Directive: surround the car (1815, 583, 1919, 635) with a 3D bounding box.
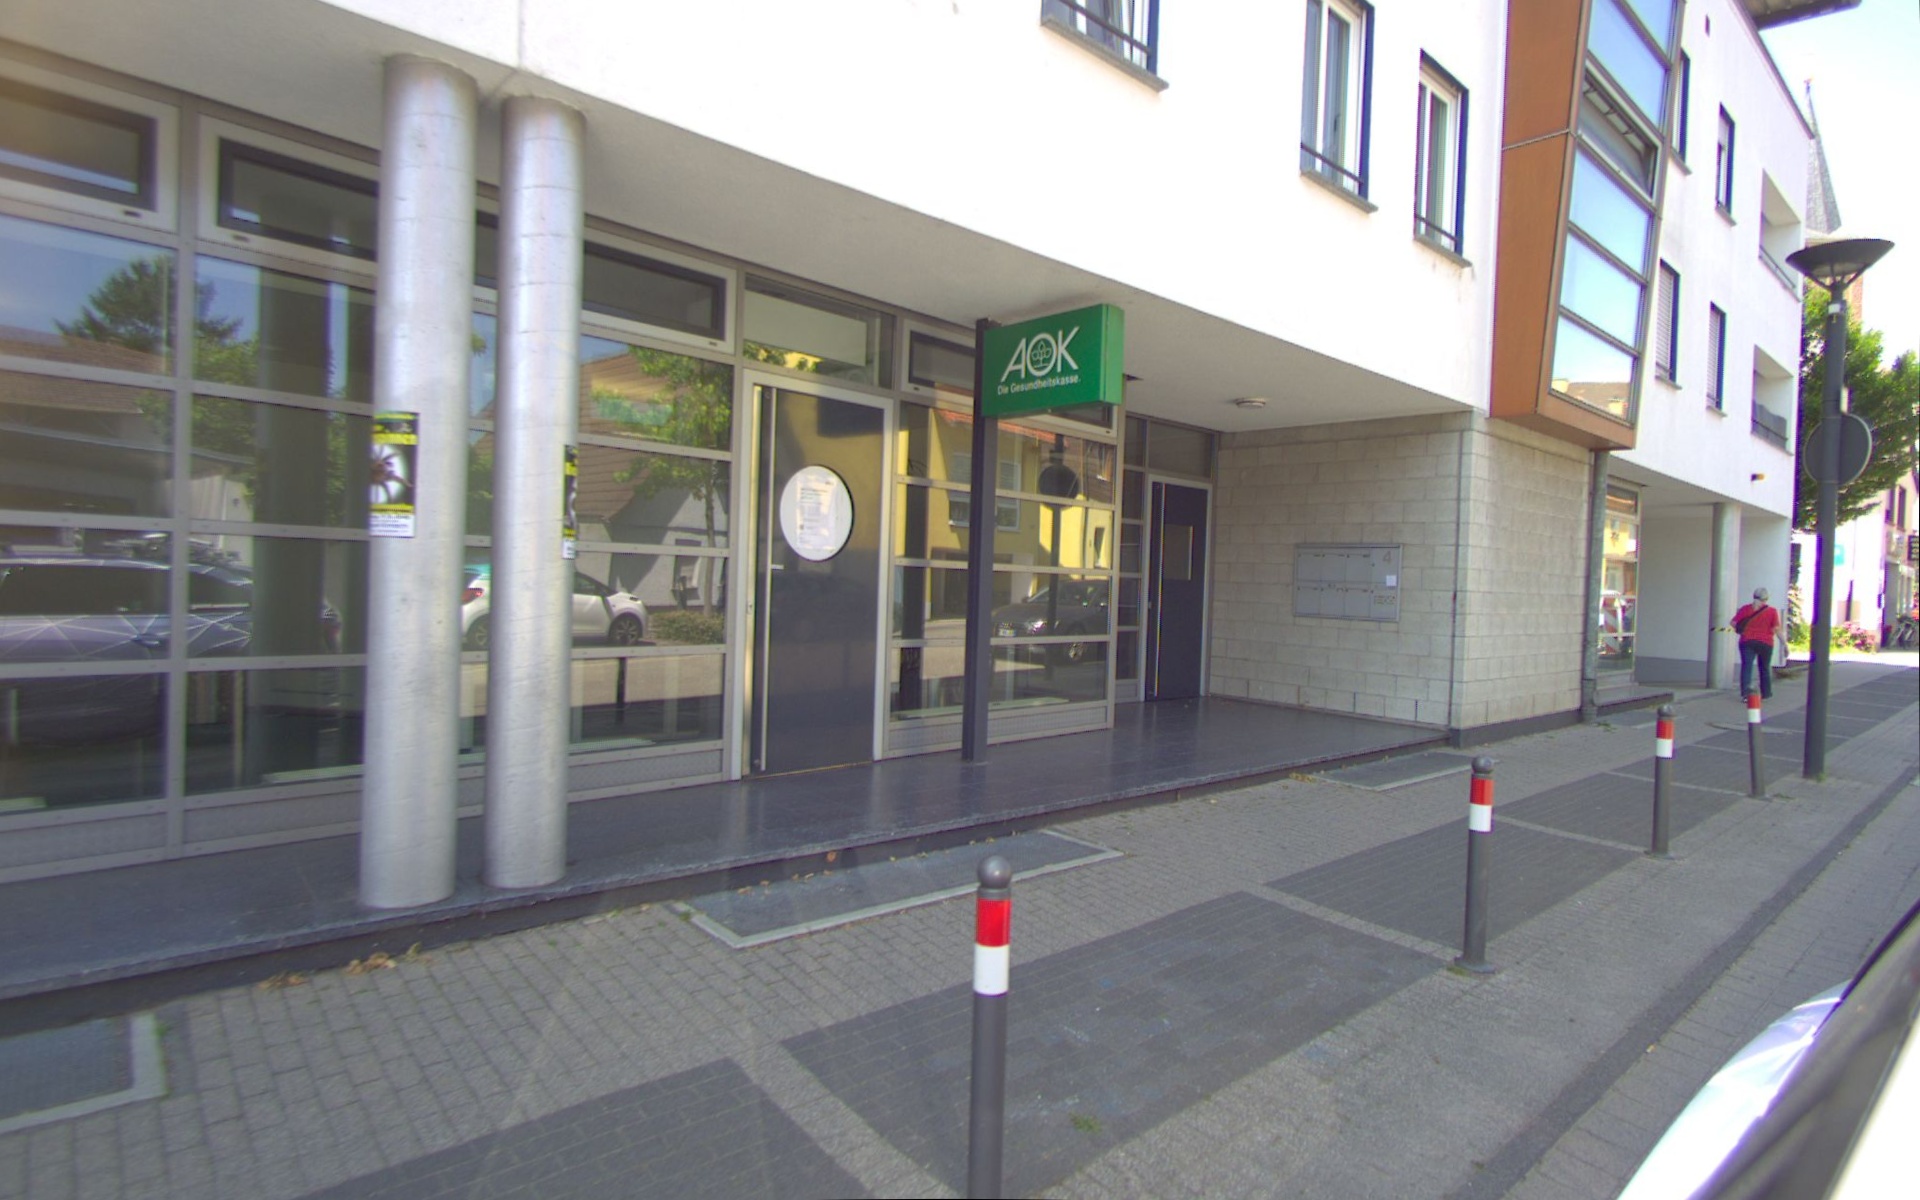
[{"bbox_3d":[36.804,0.364,40.075,1.965,1.882,4.201,1,3,-41],"label":"car"}]

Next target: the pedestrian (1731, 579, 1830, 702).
[{"bbox_3d":[11.591,0.542,14.293,0.903,1.607,0.826,1,4,-41],"label":"pedestrian"}]
